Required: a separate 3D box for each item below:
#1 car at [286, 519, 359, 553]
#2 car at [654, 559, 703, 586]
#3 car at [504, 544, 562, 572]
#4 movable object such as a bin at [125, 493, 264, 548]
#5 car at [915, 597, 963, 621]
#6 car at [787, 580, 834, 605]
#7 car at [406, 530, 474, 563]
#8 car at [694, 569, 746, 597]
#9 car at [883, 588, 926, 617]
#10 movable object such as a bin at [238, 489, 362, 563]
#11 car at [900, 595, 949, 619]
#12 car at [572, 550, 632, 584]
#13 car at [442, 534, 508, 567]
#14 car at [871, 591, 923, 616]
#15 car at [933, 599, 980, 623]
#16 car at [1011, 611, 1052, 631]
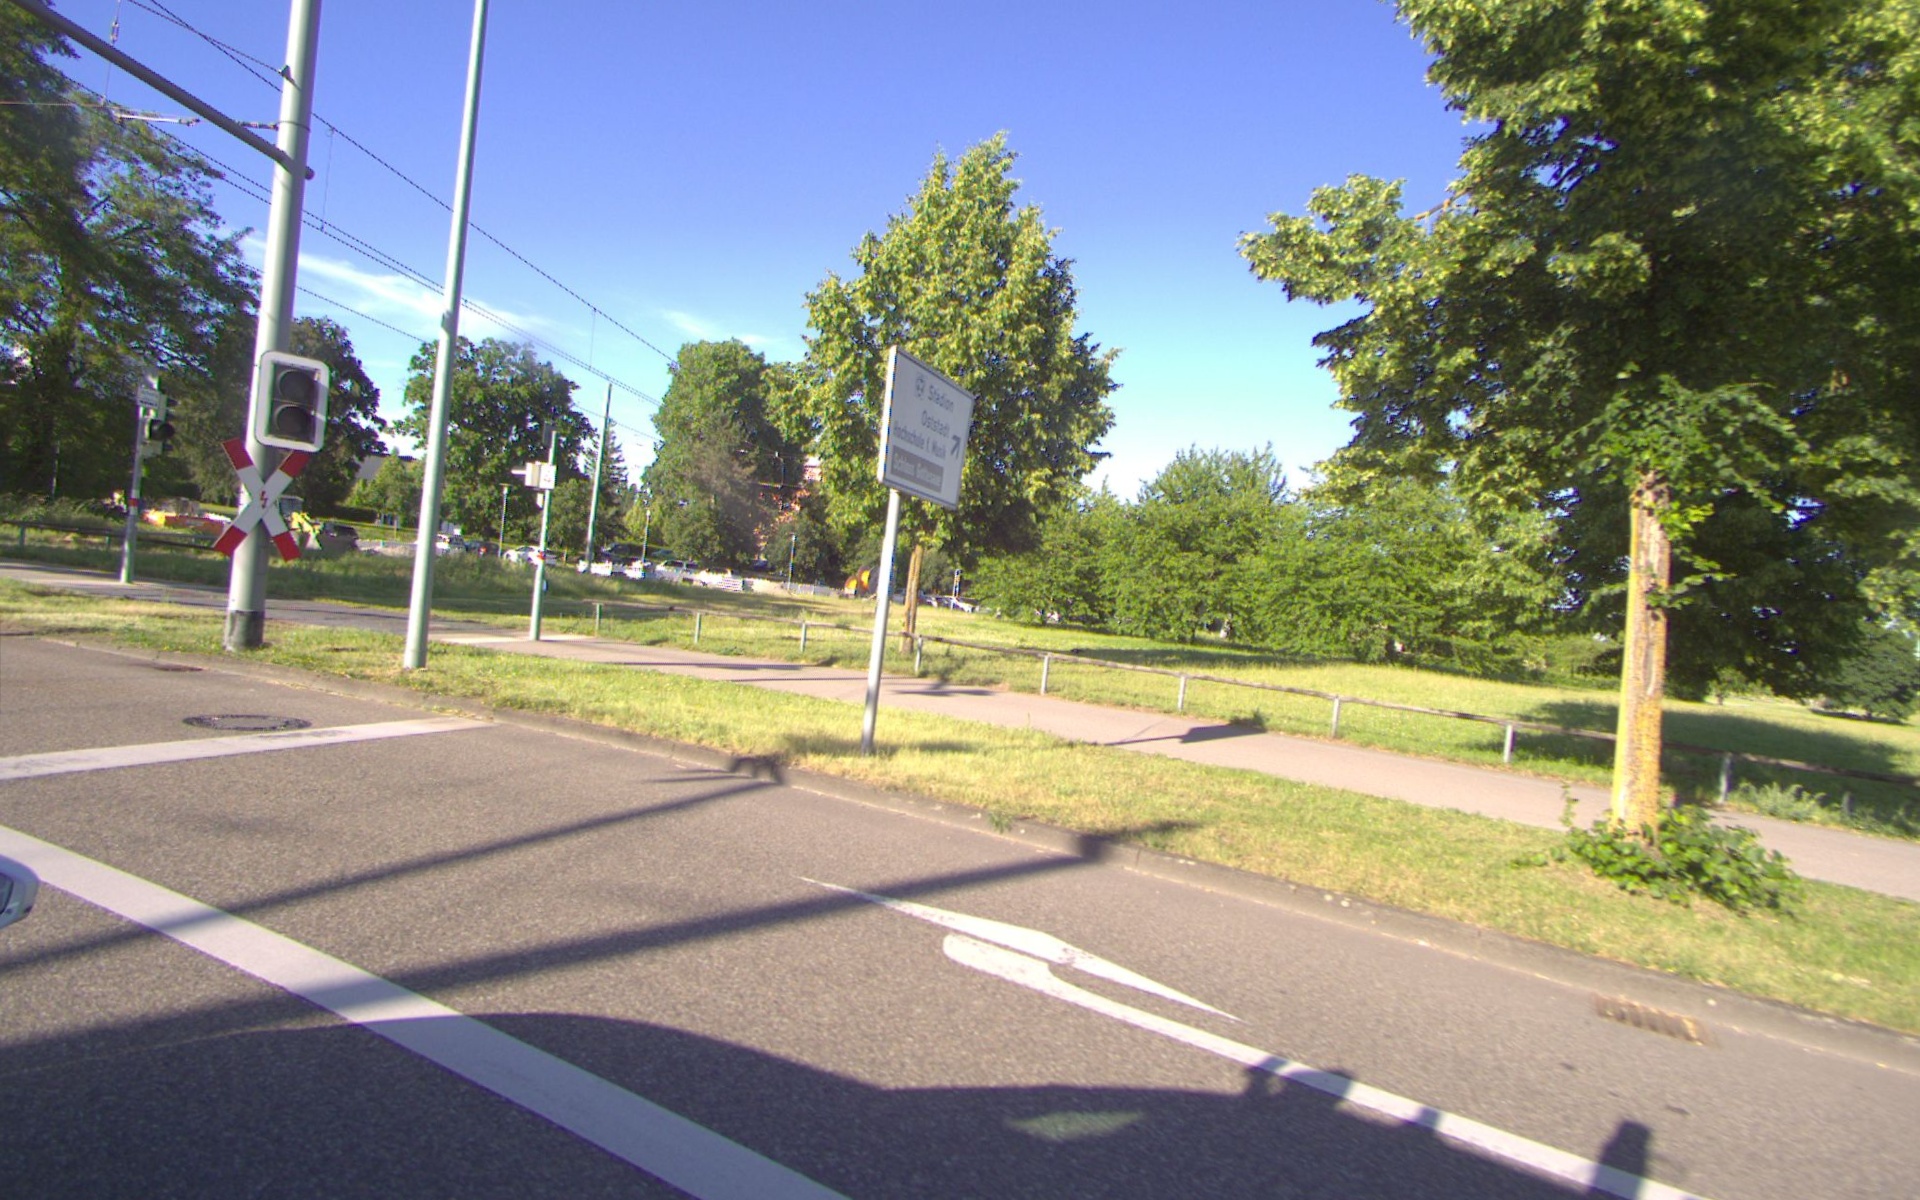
[{"bbox_3d":[-36.330,-3.652,57.347,3.886,1.575,1.922,5,-1,32],"label":"car"},{"bbox_3d":[-22.680,-2.227,81.021,3.787,1.801,1.690,5,-1,35],"label":"car"},{"bbox_3d":[-29.515,-2.882,69.549,3.746,1.575,1.829,5,-1,33],"label":"car"},{"bbox_3d":[-38.401,-3.931,50.653,2.199,1.971,5.021,5,-2,24],"label":"movable object such as a bin"},{"bbox_3d":[-1.957,0.810,92.964,3.934,1.777,1.911,5,-1,31],"label":"car"},{"bbox_3d":[-14.213,-0.712,95.556,3.934,1.919,1.996,5,-1,31],"label":"car"},{"bbox_3d":[-33.314,-3.434,64.388,3.934,1.744,1.996,5,-1,31],"label":"car"},{"bbox_3d":[-20.363,-1.462,85.318,3.934,1.983,1.996,5,-1,31],"label":"car"},{"bbox_3d":[-5.997,0.285,108.316,3.934,2.685,1.996,5,-1,31],"label":"car"},{"bbox_3d":[-29.998,-3.372,45.753,4.954,2.822,2.000,5,-1,21],"label":"movable object such as a bin"},{"bbox_3d":[-3.190,0.619,90.783,3.934,1.777,1.911,5,-1,31],"label":"car"},{"bbox_3d":[-26.468,-2.437,74.308,3.934,2.125,1.996,5,-1,31],"label":"car"},{"bbox_3d":[-31.822,-3.257,66.004,3.934,1.790,1.996,5,-1,31],"label":"car"},{"bbox_3d":[-5.506,0.297,87.949,3.934,1.777,1.996,5,-1,31],"label":"car"},{"bbox_3d":[-0.325,1.035,94.893,3.934,1.777,1.911,5,-1,31],"label":"car"},{"bbox_3d":[7.712,2.266,108.538,3.934,1.777,1.911,5,-1,31],"label":"car"}]
